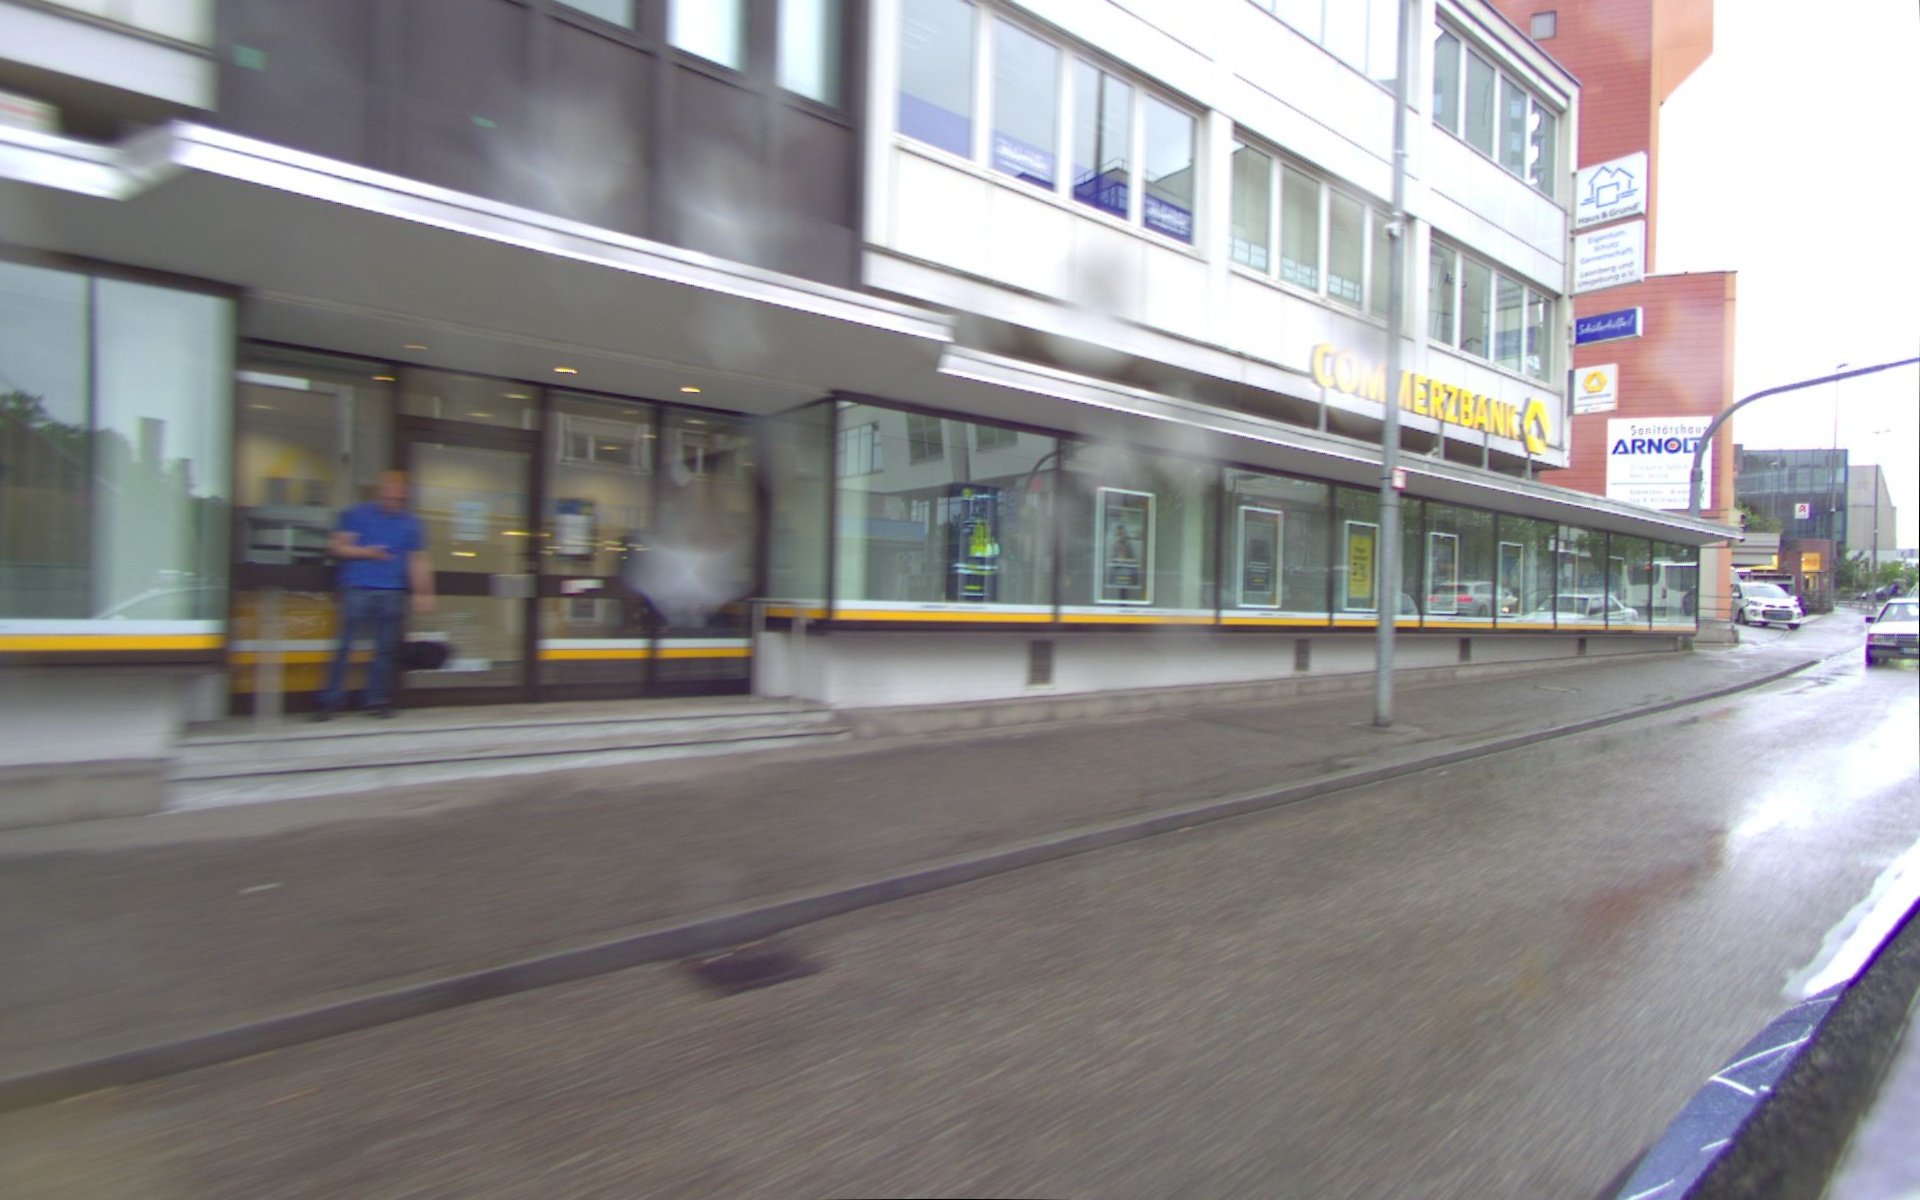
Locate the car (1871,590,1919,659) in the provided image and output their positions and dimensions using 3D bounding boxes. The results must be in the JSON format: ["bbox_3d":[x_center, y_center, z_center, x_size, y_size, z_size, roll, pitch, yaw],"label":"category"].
[{"bbox_3d":[20.847,0.488,21.626,3.927,1.324,1.660,-1,2,-42],"label":"car"}]

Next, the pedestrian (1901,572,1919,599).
[{"bbox_3d":[67.280,-1.044,71.688,0.782,1.825,0.689,-1,4,-34],"label":"pedestrian"}]

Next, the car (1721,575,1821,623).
[{"bbox_3d":[27.505,-0.080,34.450,1.596,1.480,3.402,1,2,20],"label":"car"}]

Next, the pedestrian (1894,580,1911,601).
[{"bbox_3d":[66.328,-0.654,71.218,0.757,1.396,0.689,-1,4,-34],"label":"pedestrian"}]

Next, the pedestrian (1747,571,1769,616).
[{"bbox_3d":[31.844,-0.268,40.384,0.593,1.789,0.591,2,0,43],"label":"pedestrian"}]

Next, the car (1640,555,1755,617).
[{"bbox_3d":[29.906,-0.503,41.242,1.978,2.237,4.853,3,-1,14],"label":"car"}]

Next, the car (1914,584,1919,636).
[{"bbox_3d":[33.673,0.323,34.035,4.406,1.667,2.055,-1,2,-43],"label":"car"}]

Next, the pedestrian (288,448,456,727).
[{"bbox_3d":[-4.112,-0.078,7.095,0.934,1.803,0.732,2,-1,-32],"label":"pedestrian"}]
